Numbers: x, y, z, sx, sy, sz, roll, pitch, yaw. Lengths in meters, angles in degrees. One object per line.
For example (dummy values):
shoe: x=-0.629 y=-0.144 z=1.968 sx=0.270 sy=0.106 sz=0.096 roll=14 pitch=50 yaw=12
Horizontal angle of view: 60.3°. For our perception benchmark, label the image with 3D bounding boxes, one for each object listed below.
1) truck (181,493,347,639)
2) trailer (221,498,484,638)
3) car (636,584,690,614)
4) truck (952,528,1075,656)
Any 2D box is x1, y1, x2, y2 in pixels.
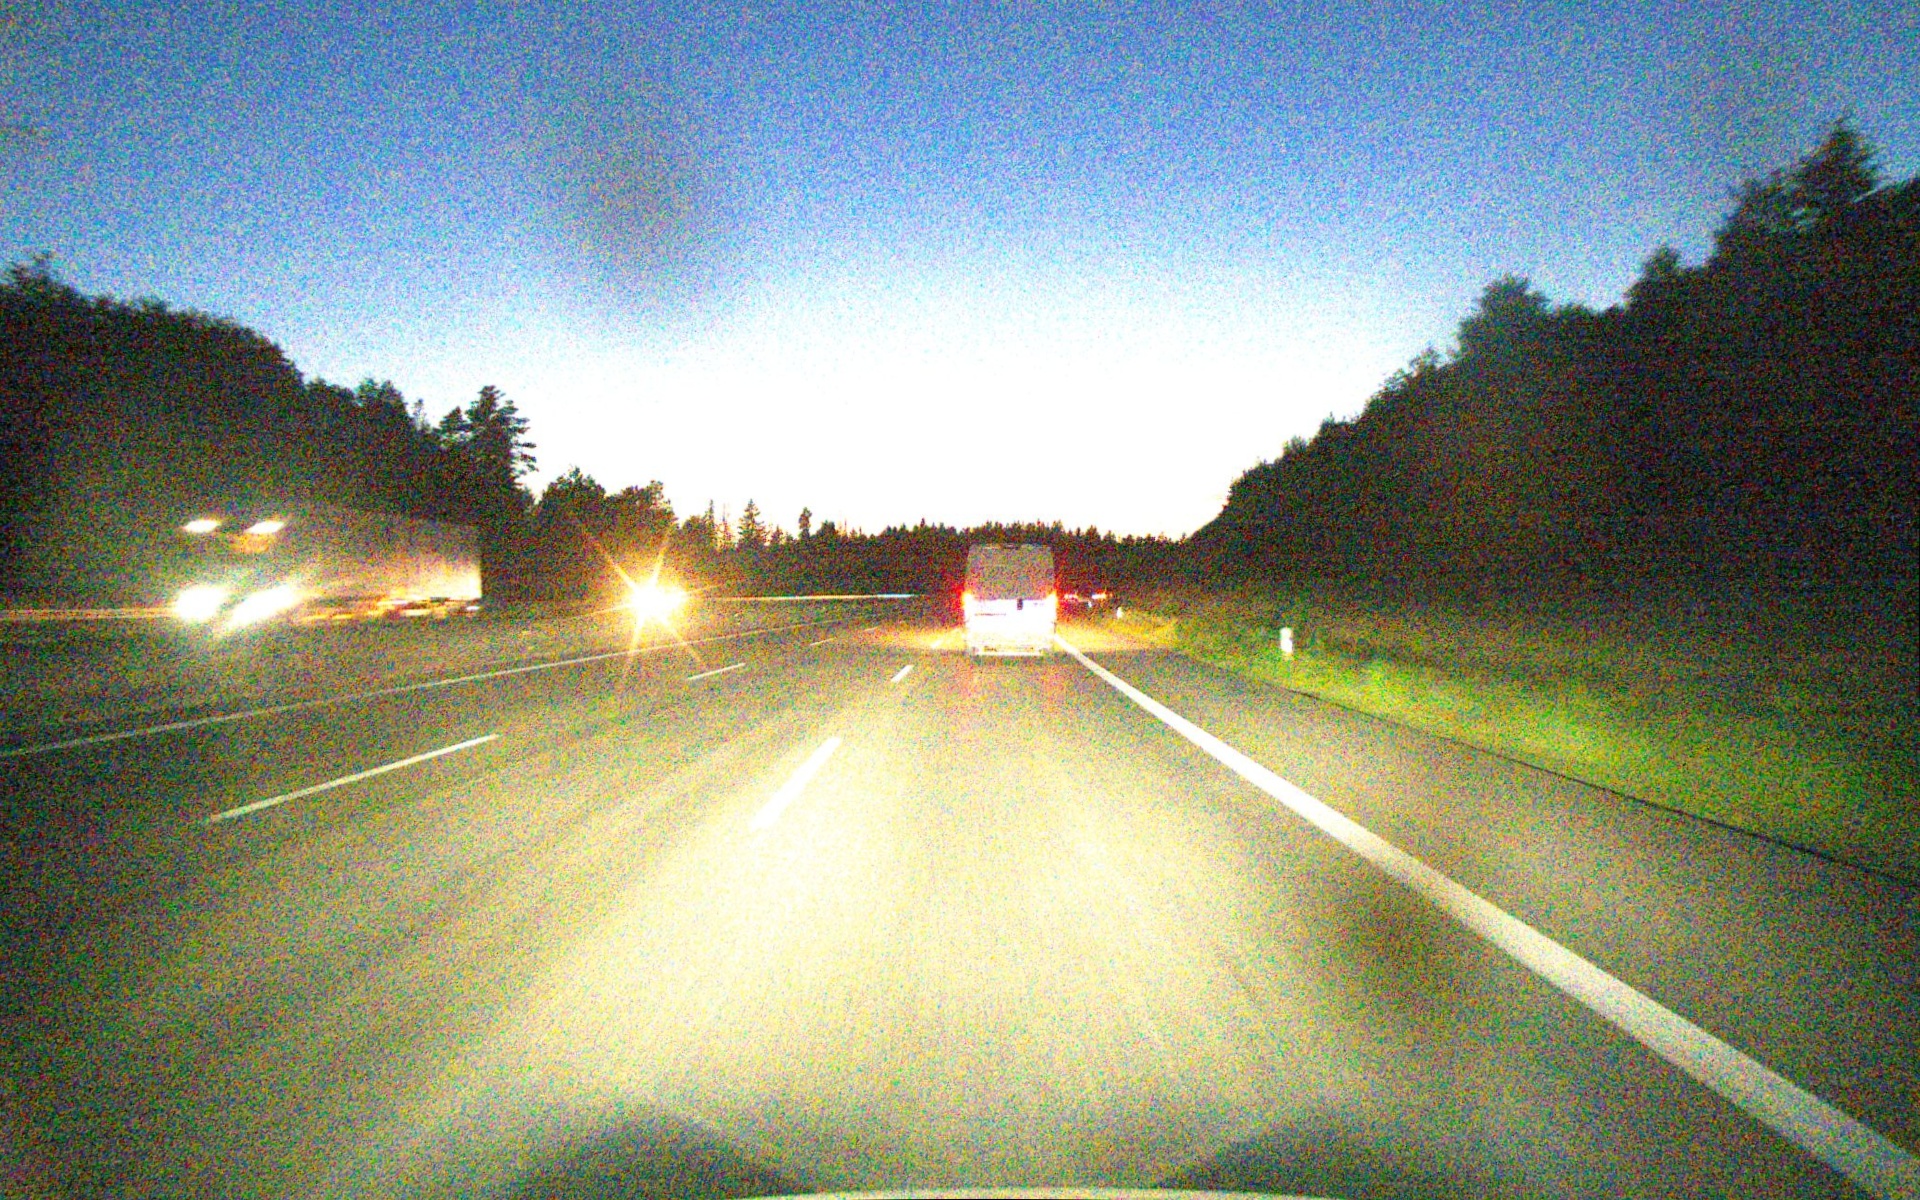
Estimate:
truck: x=-21.321 y=-0.973 z=50.981 sx=2.658 sy=4.272 sz=5.421 roll=0 pitch=-1 yaw=2
trailer: x=-21.081 y=-0.917 z=59.240 sx=2.633 sy=4.292 sz=17.255 roll=0 pitch=0 yaw=1
car: x=-16.495 y=-0.028 z=91.996 sx=1.952 sy=1.607 sz=4.586 roll=0 pitch=0 yaw=3
truck: x=1.174 y=-0.130 z=38.945 sx=2.576 sy=2.670 sz=8.685 roll=0 pitch=0 yaw=1
